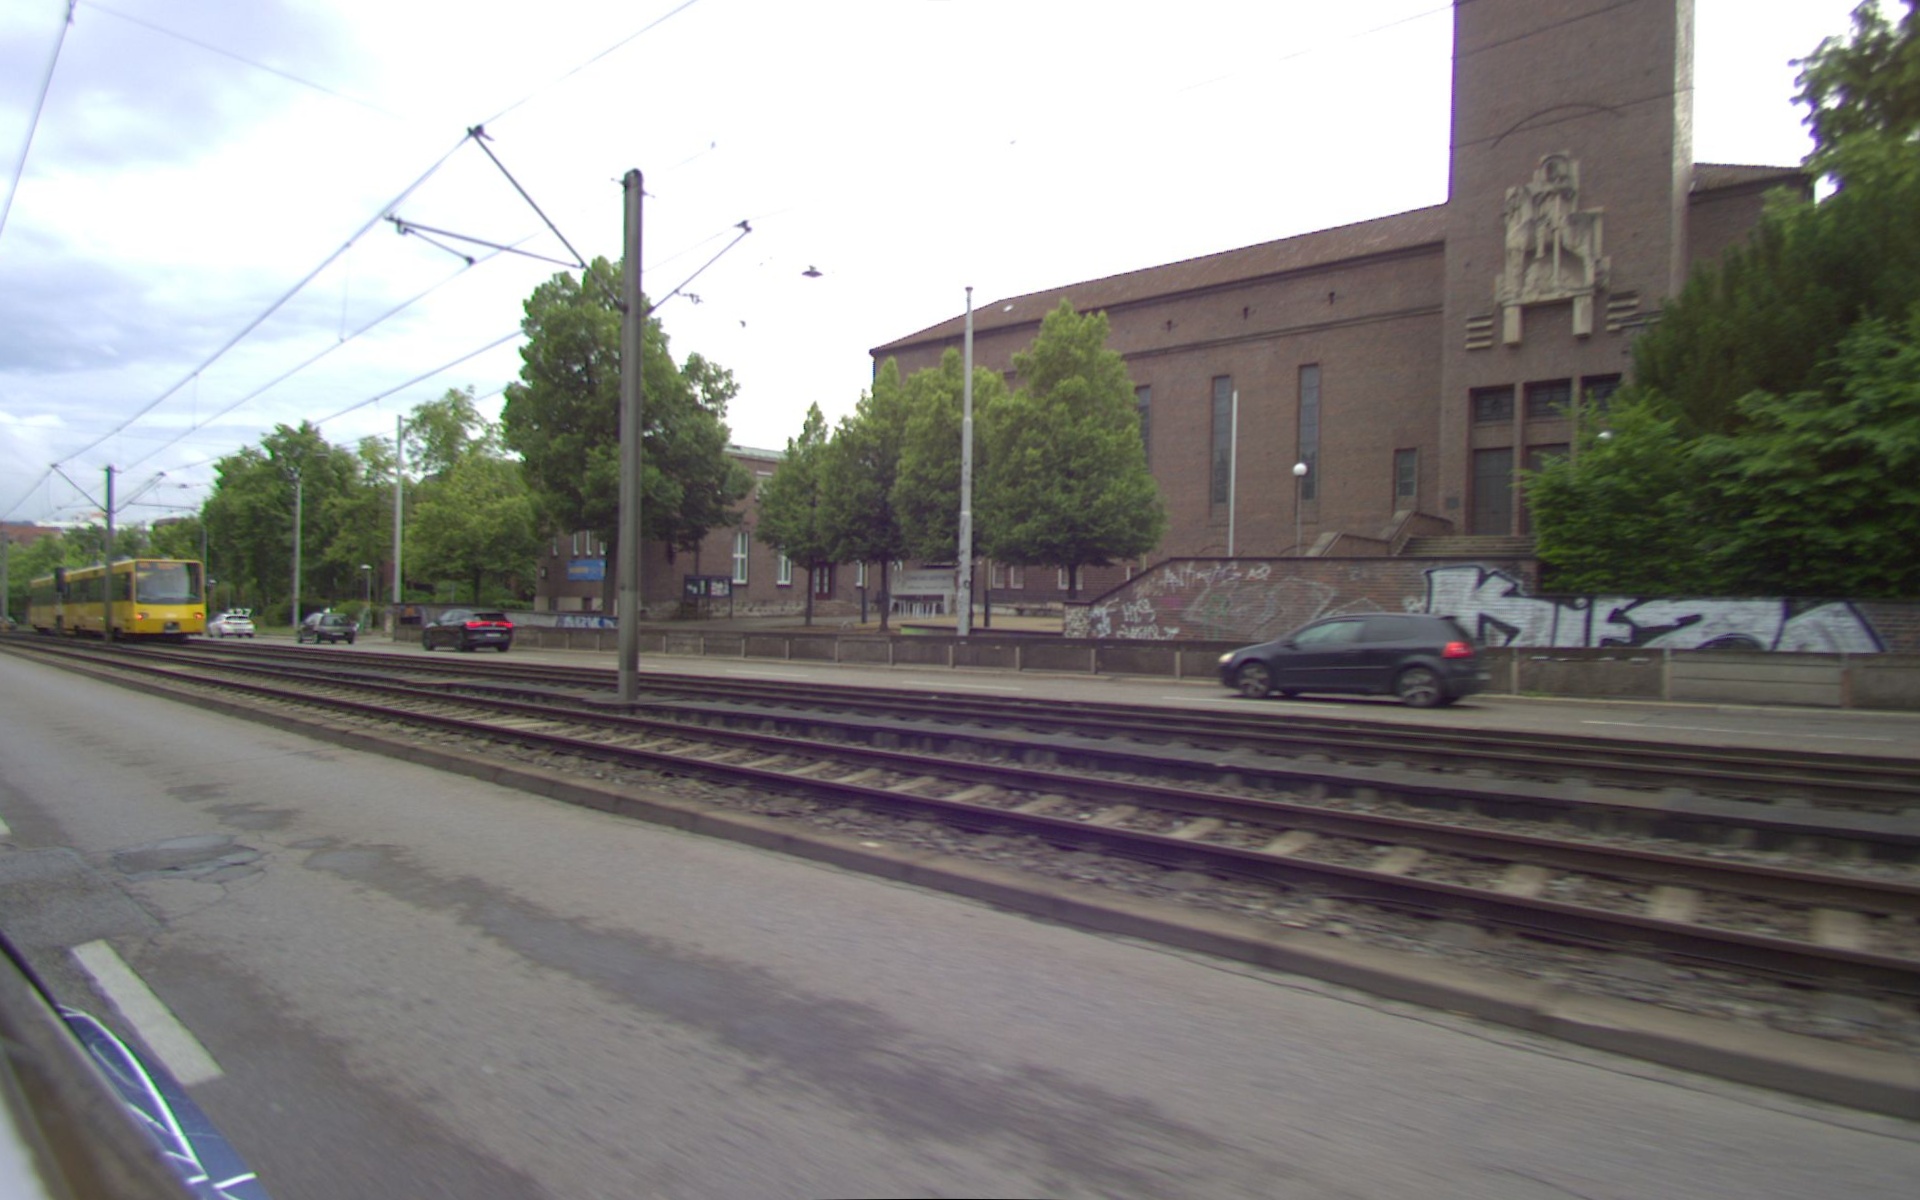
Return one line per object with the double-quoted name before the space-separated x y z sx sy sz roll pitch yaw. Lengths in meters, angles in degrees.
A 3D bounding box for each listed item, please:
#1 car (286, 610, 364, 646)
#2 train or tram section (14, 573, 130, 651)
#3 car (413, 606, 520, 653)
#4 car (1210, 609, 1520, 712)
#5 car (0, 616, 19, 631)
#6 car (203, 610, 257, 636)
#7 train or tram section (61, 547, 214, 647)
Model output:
"car" -30.994 1.368 49.374 4.408 1.656 1.973 -1 -2 40
"train or tram section" -53.194 0.796 60.244 20.020 4.006 2.798 -1 -1 42
"car" -18.710 1.112 38.330 4.521 1.656 1.973 -1 -2 40
"car" 6.482 0.897 16.436 4.317 1.452 1.946 -1 -2 39
"car" -103.600 2.571 109.838 4.339 1.650 1.670 -1 -1 41
"car" -44.286 1.403 61.375 3.982 1.479 1.729 -1 -4 40
"train or tram section" -39.055 0.048 47.603 17.870 4.006 2.798 -1 -1 42
